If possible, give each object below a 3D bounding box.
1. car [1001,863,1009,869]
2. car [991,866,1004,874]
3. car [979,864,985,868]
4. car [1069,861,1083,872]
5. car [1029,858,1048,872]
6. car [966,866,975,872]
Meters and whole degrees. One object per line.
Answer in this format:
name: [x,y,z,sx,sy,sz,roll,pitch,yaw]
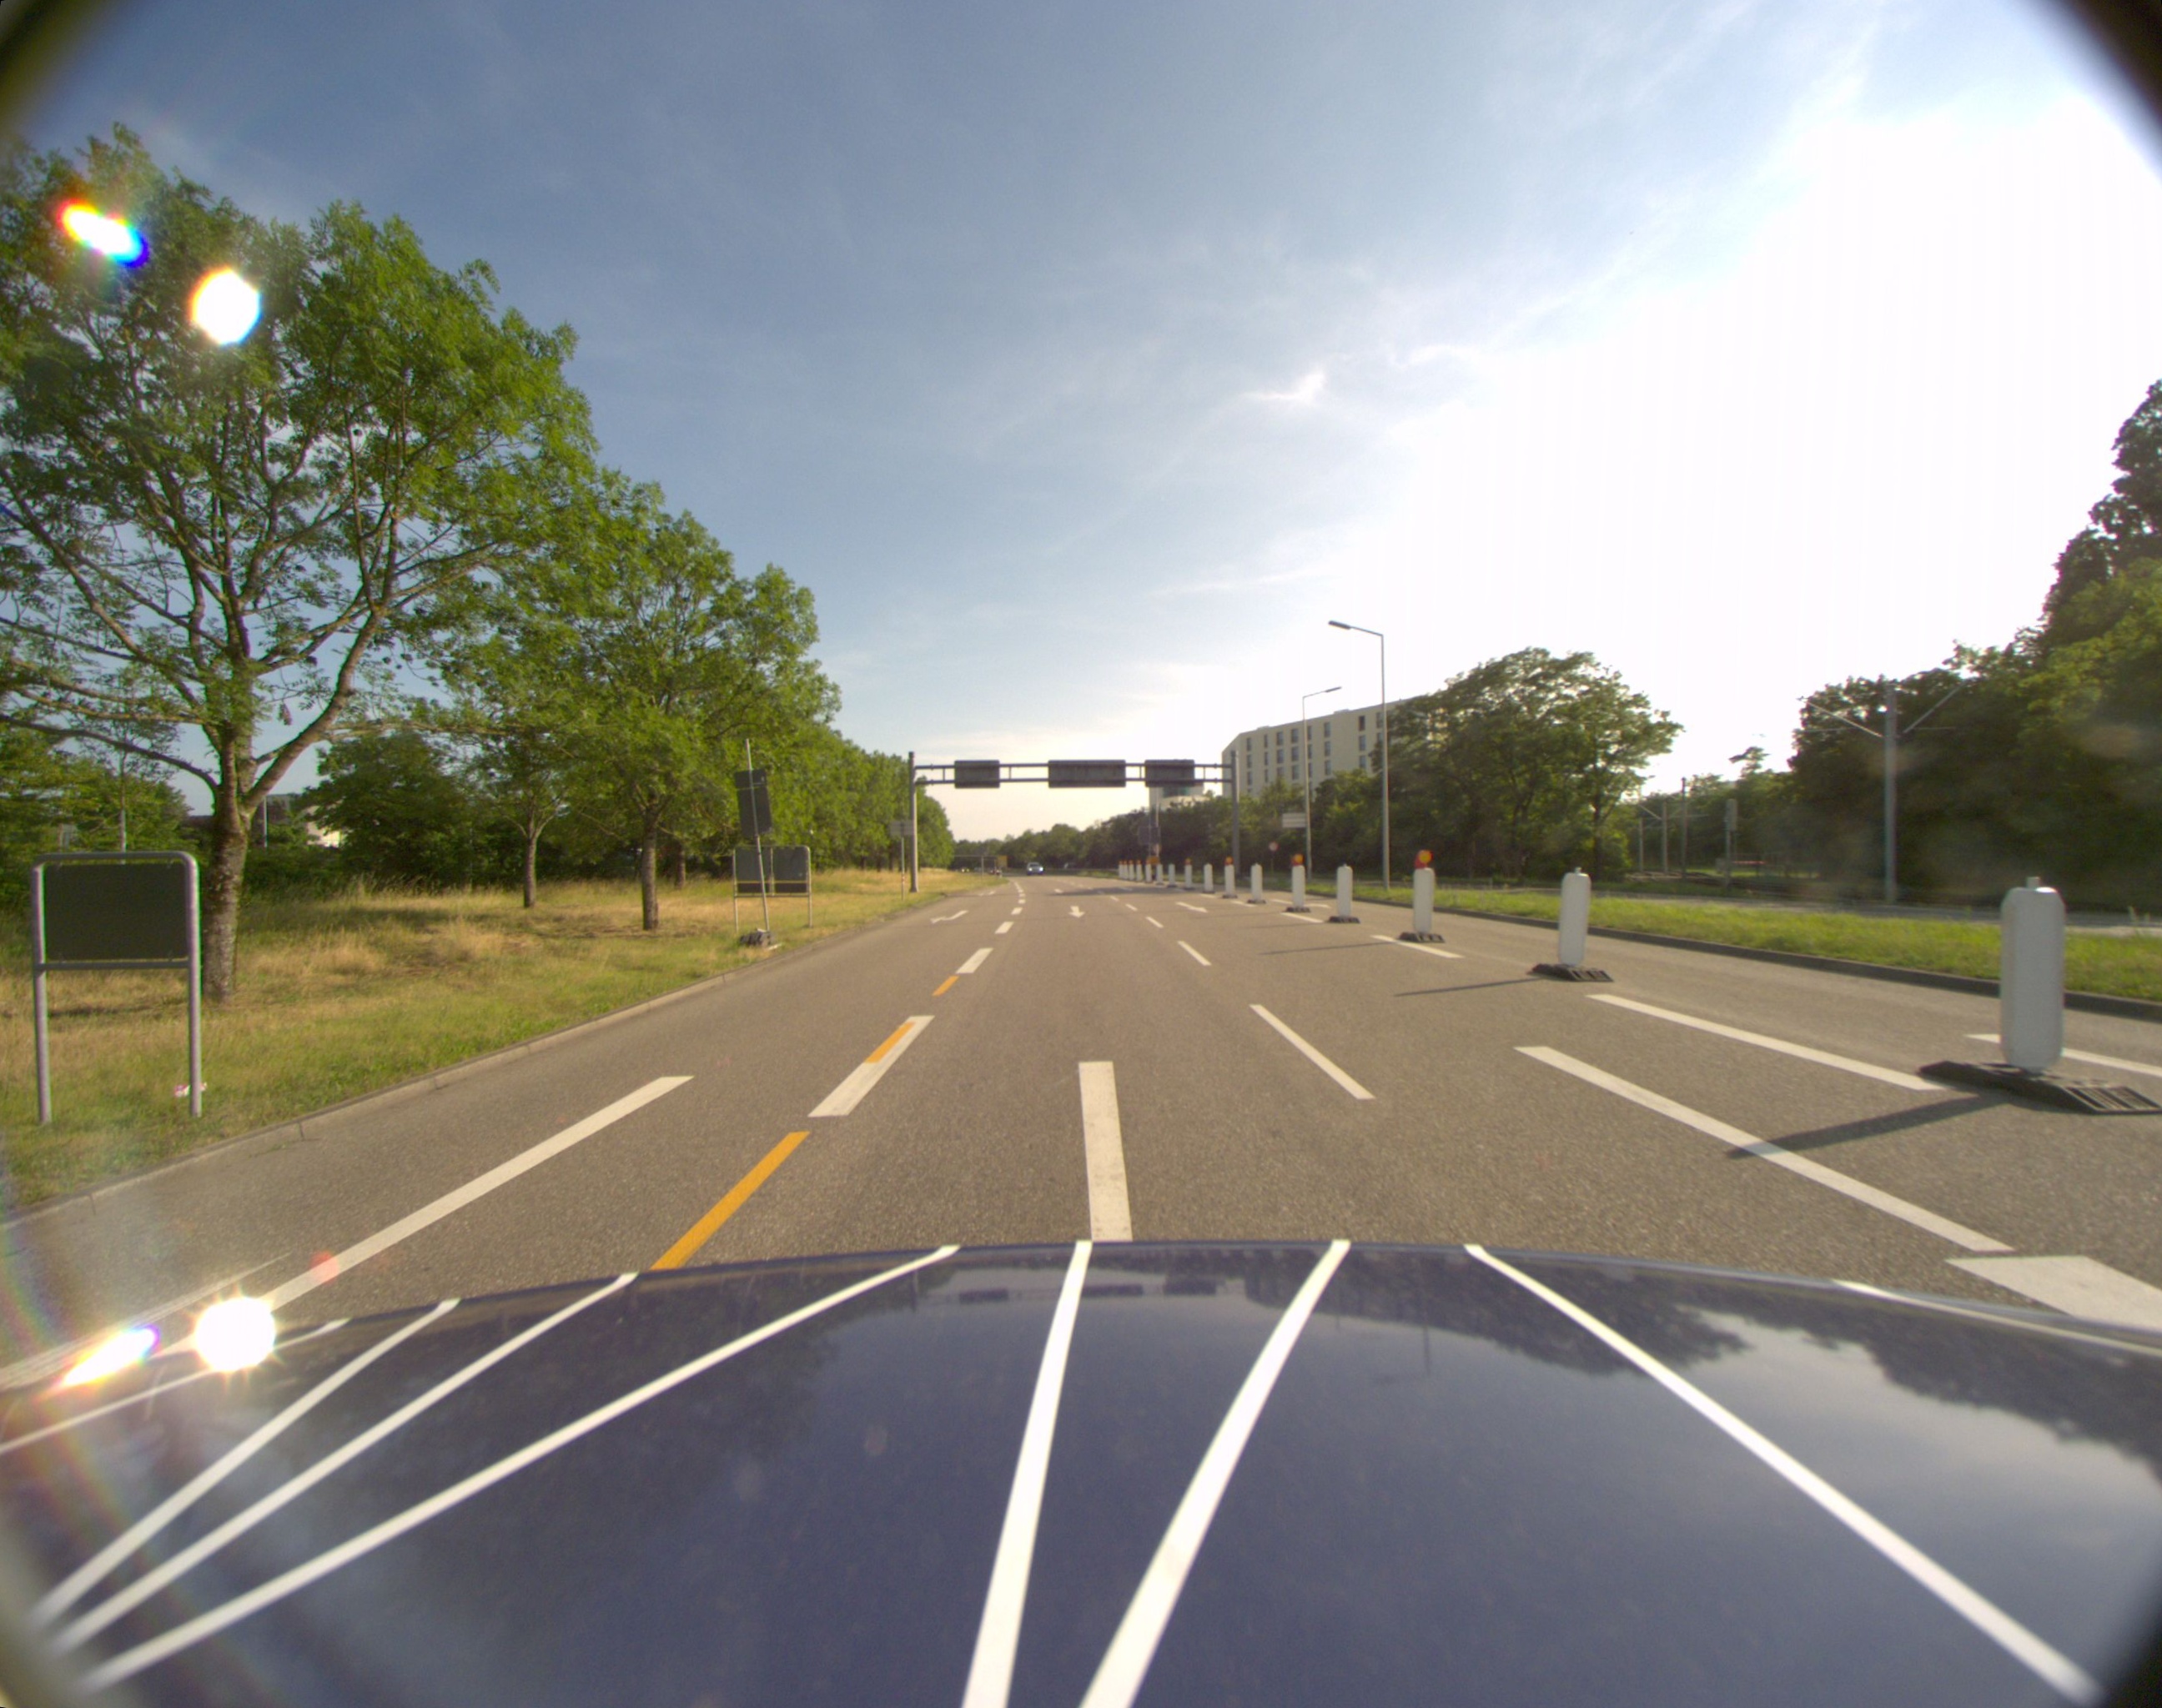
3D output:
car: [-19.794,3.170,197.810,1.737,1.602,3.520,-3,0,-13]
car: [-14.864,2.781,134.861,1.903,1.377,4.351,-3,0,-12]
car: [-31.213,3.786,238.510,1.608,1.433,3.233,-3,0,-12]
car: [-0.812,2.004,126.957,1.791,1.796,4.121,-1,0,-8]
car: [-5.983,1.493,106.615,1.903,1.813,4.351,-3,0,-12]
car: [-30.243,4.191,208.007,1.897,1.447,3.904,-1,0,-15]
